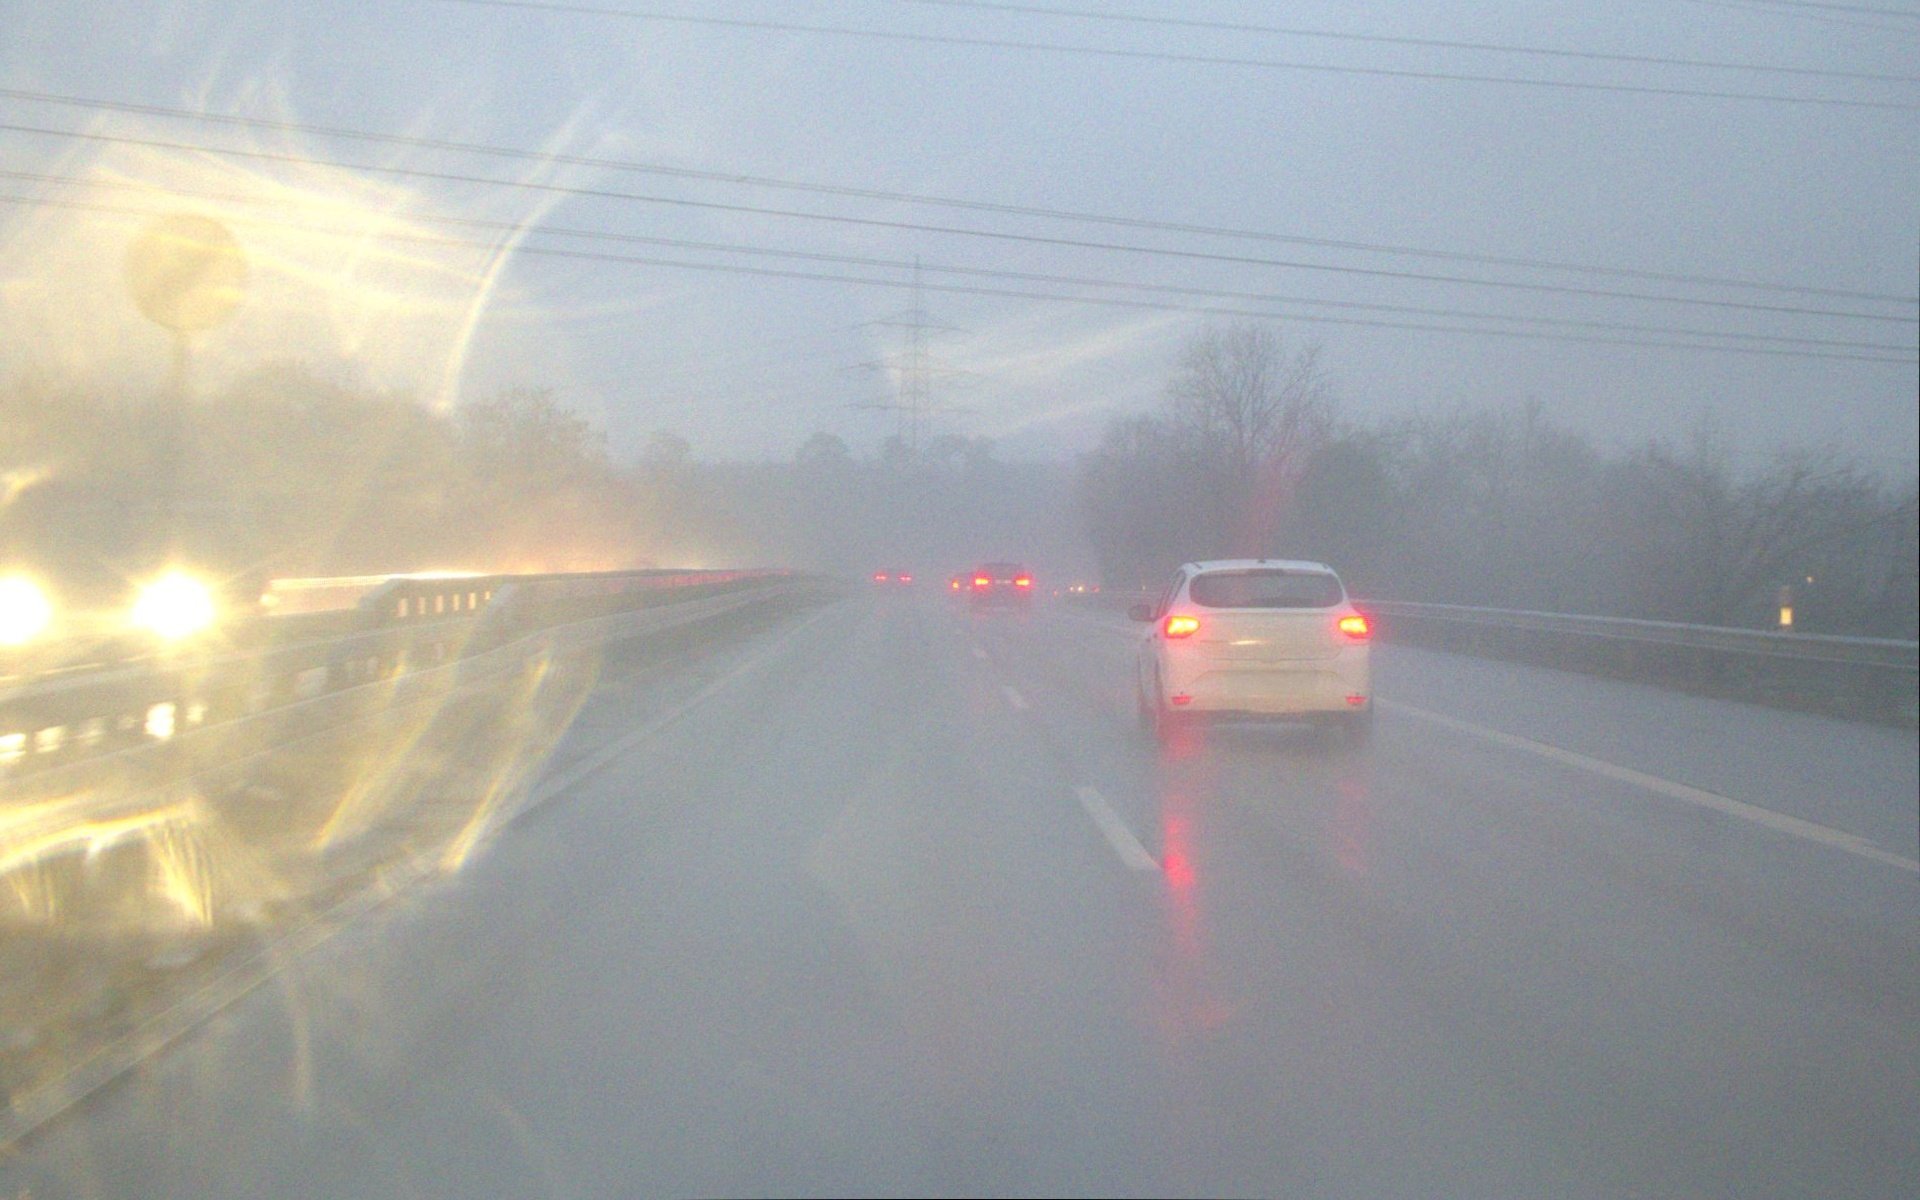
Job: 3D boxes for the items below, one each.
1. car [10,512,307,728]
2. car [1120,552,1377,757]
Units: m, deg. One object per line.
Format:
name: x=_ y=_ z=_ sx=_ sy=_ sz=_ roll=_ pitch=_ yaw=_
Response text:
car: x=-8.291 y=0.164 z=36.009 sx=2.070 sy=2.107 sz=4.762 roll=0 pitch=1 yaw=-1
car: x=2.404 y=0.408 z=29.459 sx=1.845 sy=1.630 sz=3.768 roll=0 pitch=1 yaw=-1
